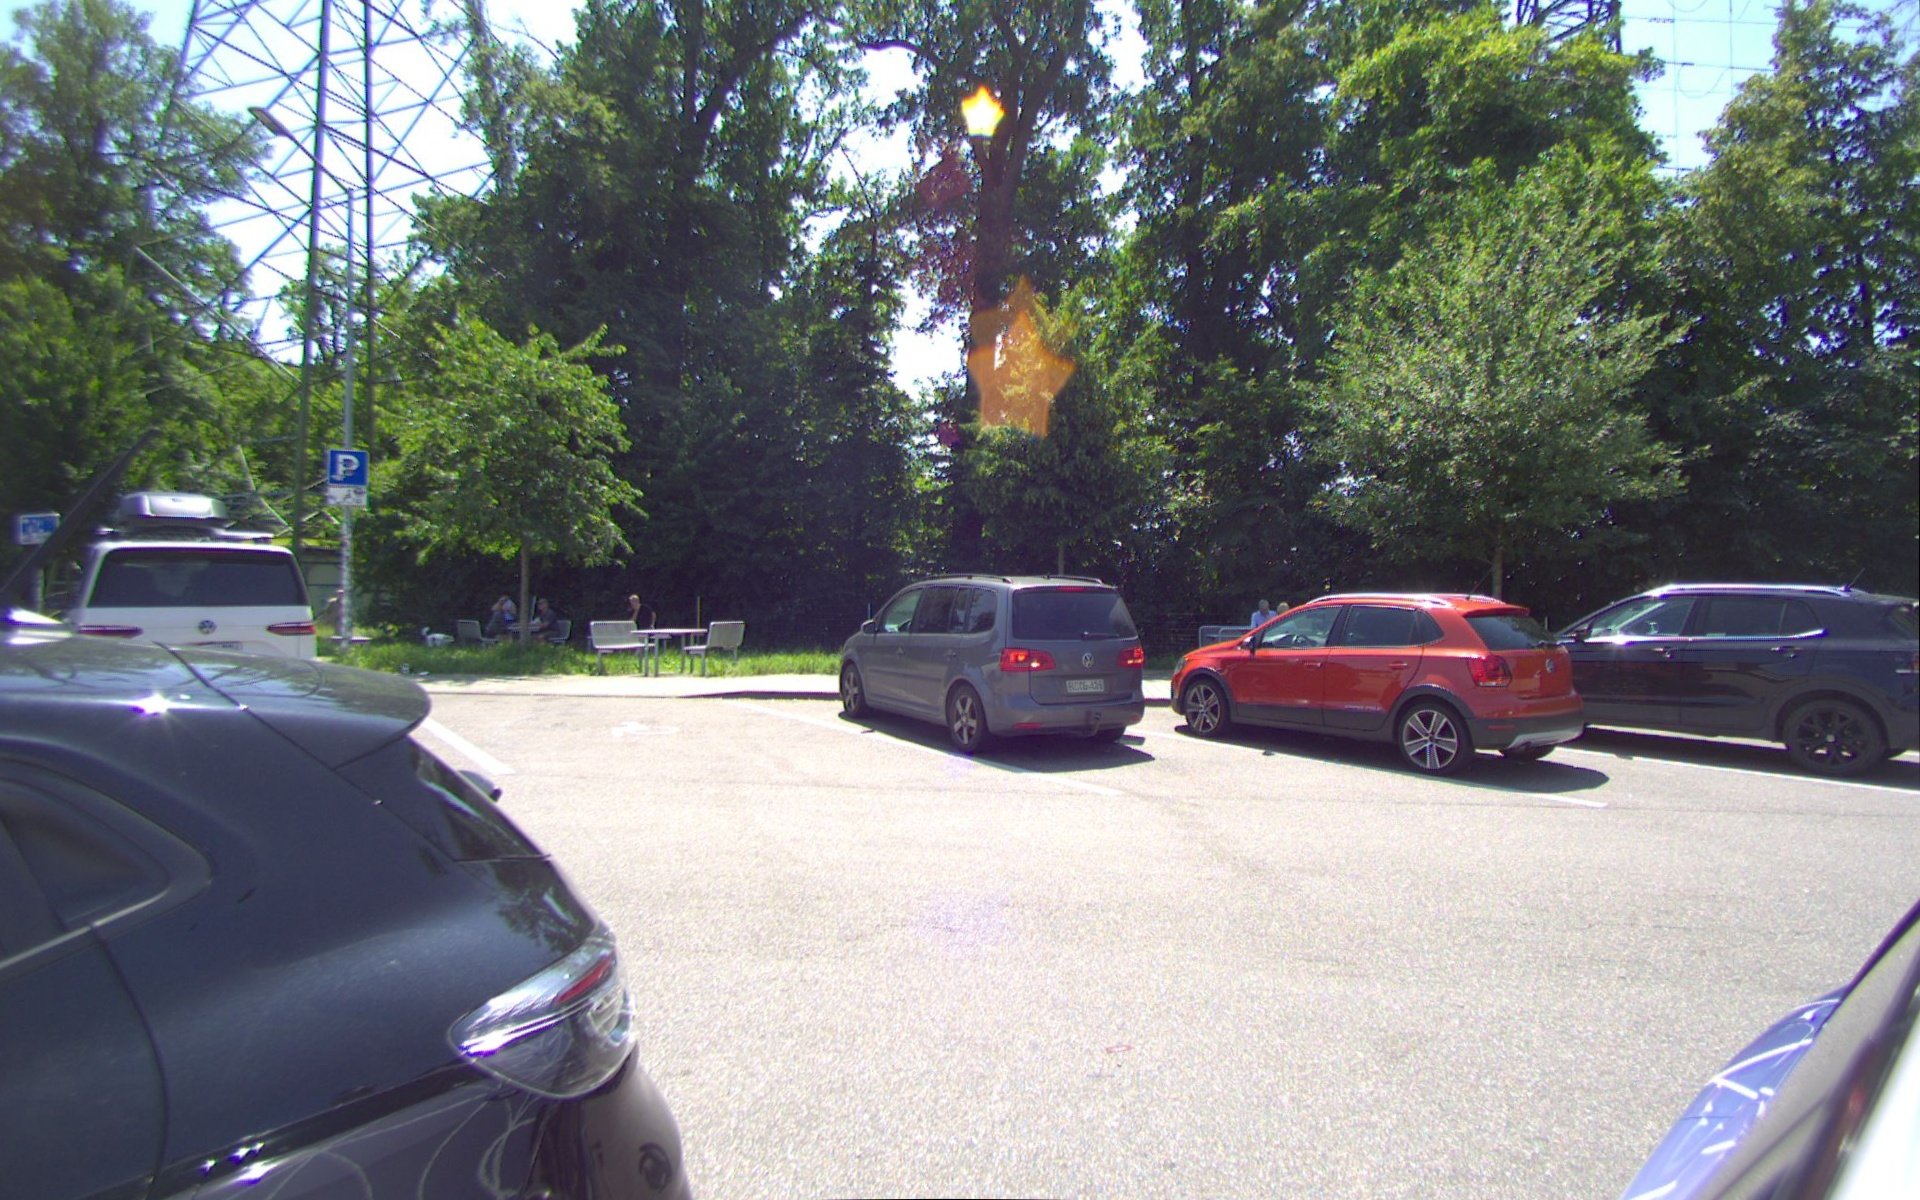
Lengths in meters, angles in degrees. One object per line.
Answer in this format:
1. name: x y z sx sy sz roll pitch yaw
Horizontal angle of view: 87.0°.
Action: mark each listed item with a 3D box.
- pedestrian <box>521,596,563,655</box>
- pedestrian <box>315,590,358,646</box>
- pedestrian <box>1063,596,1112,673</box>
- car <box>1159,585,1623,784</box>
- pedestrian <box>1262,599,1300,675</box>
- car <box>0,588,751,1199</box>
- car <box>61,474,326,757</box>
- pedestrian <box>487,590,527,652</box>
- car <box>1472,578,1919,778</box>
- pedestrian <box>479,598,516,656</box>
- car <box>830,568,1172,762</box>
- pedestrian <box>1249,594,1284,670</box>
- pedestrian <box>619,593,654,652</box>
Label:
1. pedestrian: -9.731 0.586 23.562 0.722 1.343 0.669 1 -1 -39
2. pedestrian: -15.912 0.453 25.847 0.600 1.391 0.704 1 -1 19
3. pedestrian: 2.112 0.575 16.818 0.660 1.235 0.682 1 -2 -5
4. car: 3.845 0.611 9.638 1.604 1.476 3.810 0 1 -34
5. pedestrian: 5.672 0.646 17.883 0.495 1.316 0.491 1 -1 0
6. car: -2.141 0.721 0.573 1.615 1.503 3.706 0 -1 44
7. car: -8.081 0.092 10.611 1.885 2.353 4.089 0 1 -40
8. pedestrian: -10.963 0.494 24.499 0.722 1.478 0.669 1 -1 -39
9. car: 7.224 0.583 9.662 1.727 1.566 3.806 0 1 -39
10. pedestrian: -10.451 0.601 22.865 0.630 1.287 0.579 1 -1 -39
11. car: 0.209 0.505 10.540 1.717 1.611 3.961 0 1 -30
12. pedestrian: 5.753 0.597 19.007 0.495 1.393 0.491 1 -1 0
13. pedestrian: -6.796 0.467 21.283 0.550 1.229 0.599 1 -1 -1
